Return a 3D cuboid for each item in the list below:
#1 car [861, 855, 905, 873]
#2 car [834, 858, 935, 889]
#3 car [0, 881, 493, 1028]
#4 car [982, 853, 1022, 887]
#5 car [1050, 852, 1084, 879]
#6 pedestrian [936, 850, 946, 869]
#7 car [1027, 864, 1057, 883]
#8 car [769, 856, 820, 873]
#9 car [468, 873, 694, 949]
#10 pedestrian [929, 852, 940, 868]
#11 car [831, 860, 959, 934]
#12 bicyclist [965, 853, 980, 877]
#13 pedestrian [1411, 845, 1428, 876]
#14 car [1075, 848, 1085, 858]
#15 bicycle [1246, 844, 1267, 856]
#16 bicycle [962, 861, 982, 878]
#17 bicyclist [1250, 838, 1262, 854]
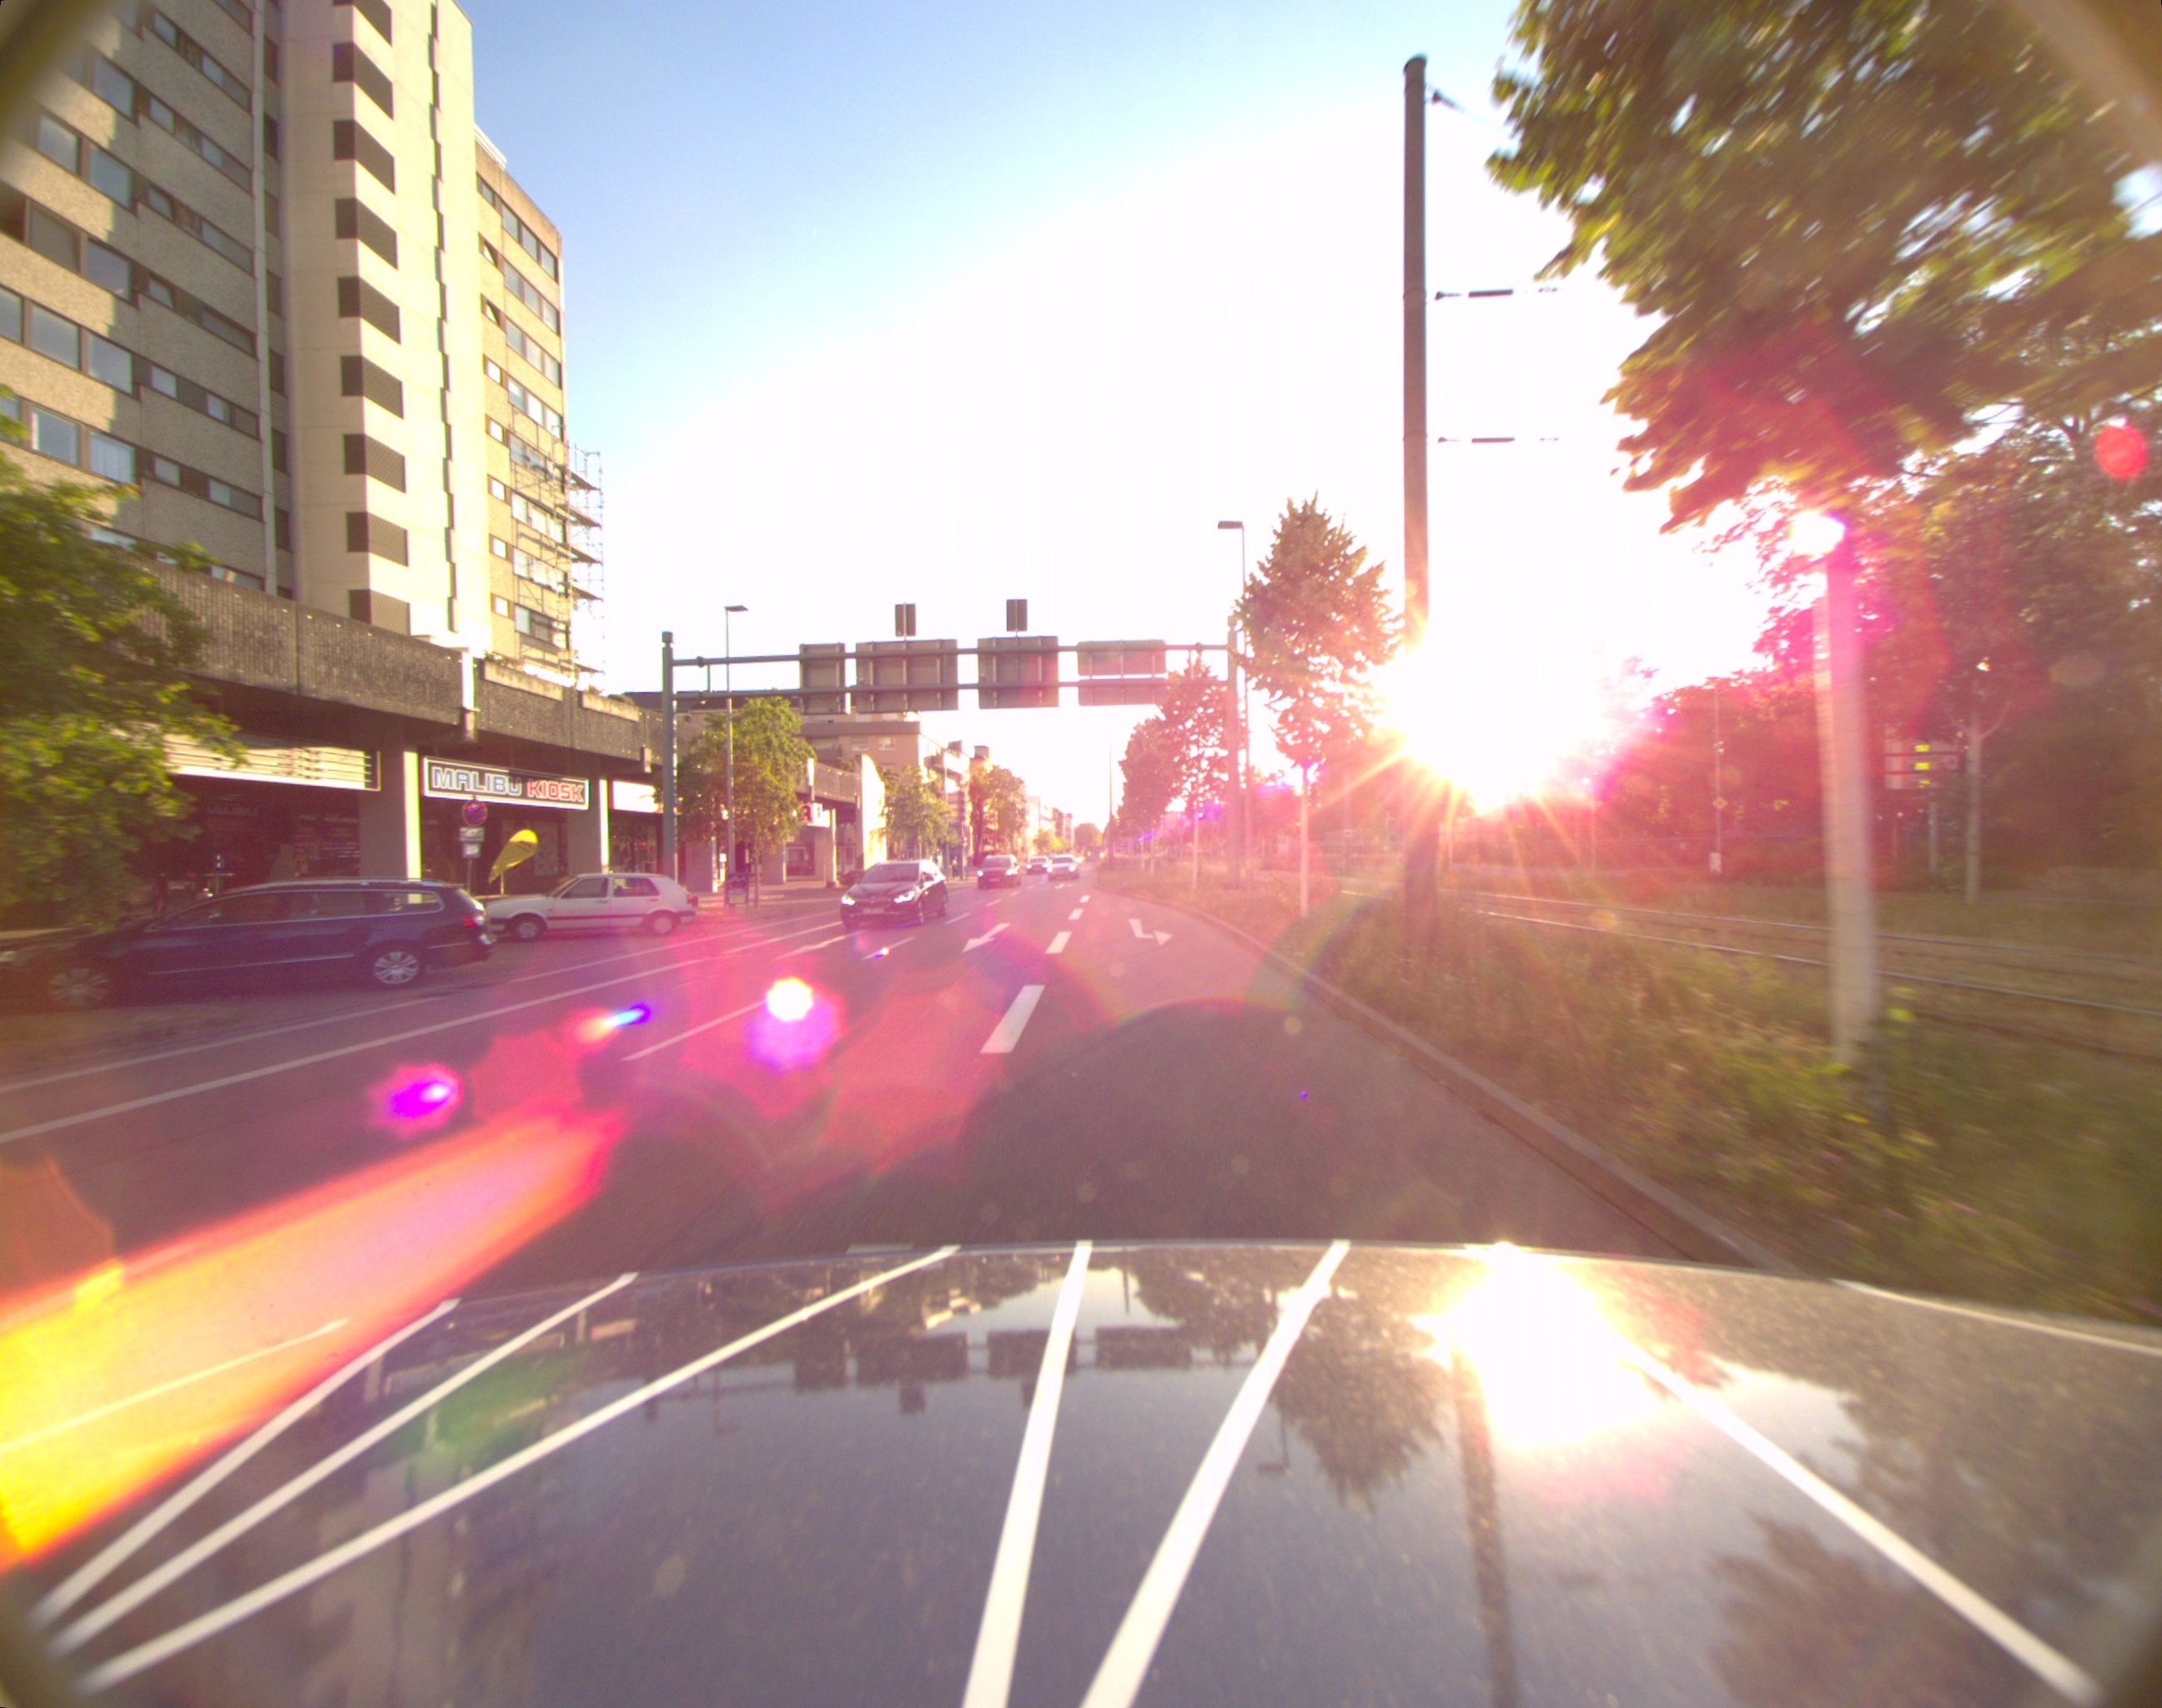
[{"bbox_3d":[-19.186,0.931,73.666,3.812,1.552,1.614,-1,4,2],"label":"car"},{"bbox_3d":[-9.902,0.952,38.469,4.616,1.445,1.809,1,0,-39],"label":"car"},{"bbox_3d":[-11.021,1.189,10.395,4.678,1.500,1.934,1,1,-37],"label":"car"},{"bbox_3d":[-3.971,0.778,38.837,1.828,1.589,4.365,-3,0,-4],"label":"car"},{"bbox_3d":[-0.821,0.677,46.957,1.832,1.455,4.303,-3,0,2],"label":"car"},{"bbox_3d":[-13.997,0.513,75.885,0.839,1.849,0.544,-1,2,2],"label":"pedestrian"},{"bbox_3d":[-3.214,1.583,63.120,1.914,1.387,4.278,-3,0,4],"label":"car"},{"bbox_3d":[-27.917,1.021,74.127,4.226,1.433,1.655,-1,4,-3],"label":"car"},{"bbox_3d":[-10.932,1.174,16.808,3.999,1.408,1.746,1,1,-36],"label":"car"},{"bbox_3d":[-14.766,0.581,76.604,0.821,1.606,0.766,-1,2,3],"label":"pedestrian"},{"bbox_3d":[-4.512,0.985,19.278,1.825,1.510,4.792,-3,0,2],"label":"car"},{"bbox_3d":[-7.825,0.761,54.574,0.821,1.682,0.959,0,1,-26],"label":"bicyclist"},{"bbox_3d":[18.005,0.350,40.456,0.670,1.597,0.679,-3,-4,16],"label":"pedestrian"},{"bbox_3d":[-0.161,-0.220,146.222,1.727,1.910,4.293,-3,0,-2],"label":"car"},{"bbox_3d":[17.928,-0.429,77.747,1.893,1.127,0.718,-3,1,29],"label":"bicycle"},{"bbox_3d":[-7.817,1.111,54.564,0.821,1.166,2.143,0,1,-26],"label":"bicycle"},{"bbox_3d":[17.905,-0.835,77.742,0.942,1.611,0.718,-3,1,29],"label":"bicyclist"}]
